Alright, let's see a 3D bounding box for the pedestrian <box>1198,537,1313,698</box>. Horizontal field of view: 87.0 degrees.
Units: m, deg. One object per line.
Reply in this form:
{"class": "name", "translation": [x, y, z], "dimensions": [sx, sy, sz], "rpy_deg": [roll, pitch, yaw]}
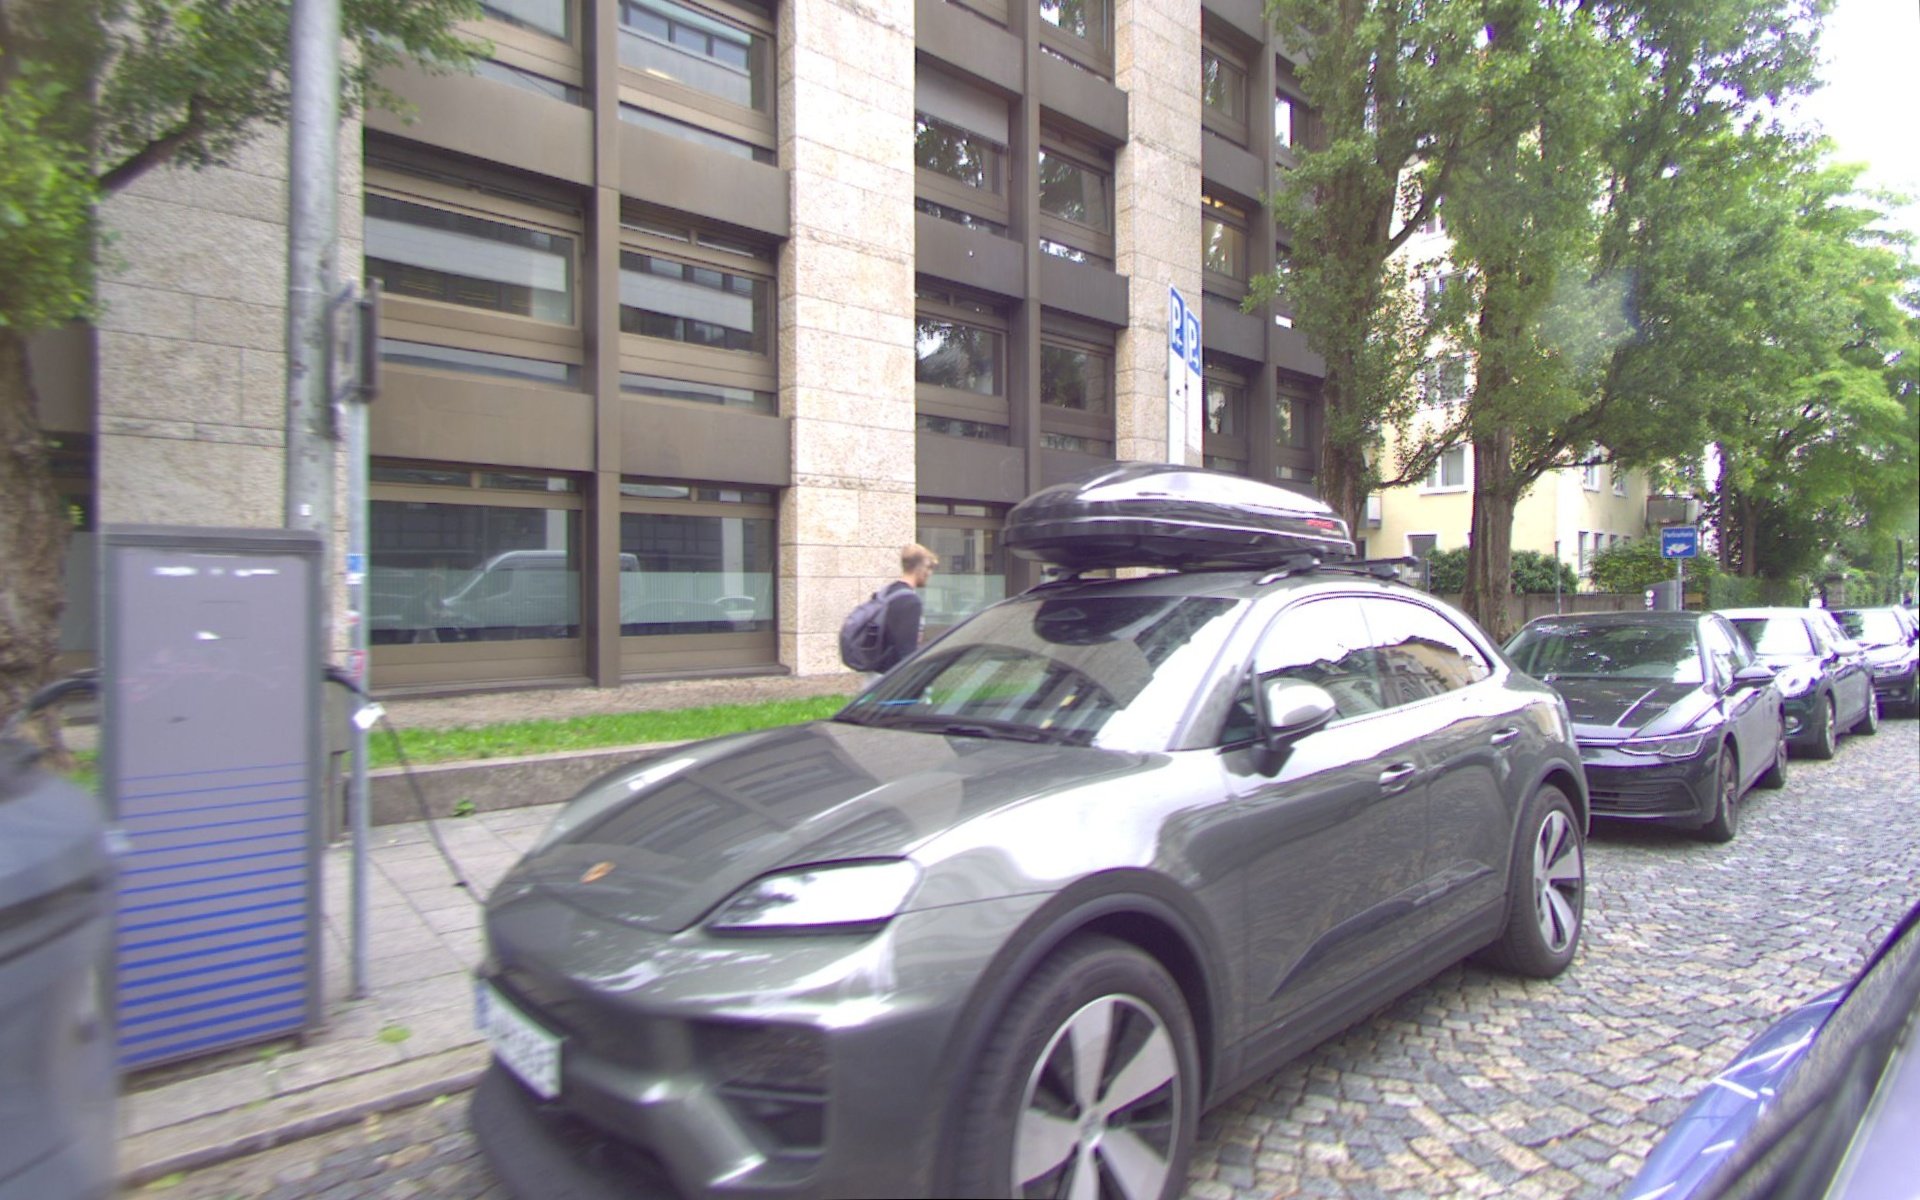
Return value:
{"class": "pedestrian", "translation": [3.339, 0.182, 11.490], "dimensions": [0.893, 1.735, 0.871], "rpy_deg": [0, 0, -20]}

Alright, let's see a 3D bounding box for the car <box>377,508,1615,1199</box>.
{"class": "car", "translation": [0.531, 0.657, 3.645], "dimensions": [4.267, 1.603, 1.996], "rpy_deg": [-1, 0, -42]}

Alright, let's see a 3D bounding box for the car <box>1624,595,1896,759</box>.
{"class": "car", "translation": [8.613, 0.715, 10.811], "dimensions": [3.500, 1.449, 1.603], "rpy_deg": [0, -2, -41]}

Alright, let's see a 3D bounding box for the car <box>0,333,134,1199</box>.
{"class": "car", "translation": [-3.243, 0.625, 0.302], "dimensions": [4.592, 1.722, 2.015], "rpy_deg": [-1, 0, -42]}

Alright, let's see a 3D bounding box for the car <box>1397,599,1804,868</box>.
{"class": "car", "translation": [4.951, 0.722, 7.556], "dimensions": [1.720, 1.407, 4.137], "rpy_deg": [0, 1, 45]}

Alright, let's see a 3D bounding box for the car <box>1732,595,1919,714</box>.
{"class": "car", "translation": [12.345, 0.665, 14.007], "dimensions": [3.808, 1.405, 1.995], "rpy_deg": [-1, -1, -43]}

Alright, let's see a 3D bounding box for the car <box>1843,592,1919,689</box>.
{"class": "car", "translation": [16.615, 0.633, 17.309], "dimensions": [3.808, 1.518, 1.864], "rpy_deg": [-1, -1, -43]}

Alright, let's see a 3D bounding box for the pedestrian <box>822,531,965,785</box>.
{"class": "pedestrian", "translation": [-0.440, 0.351, 6.691], "dimensions": [0.697, 1.557, 0.644], "rpy_deg": [0, 0, -43]}
